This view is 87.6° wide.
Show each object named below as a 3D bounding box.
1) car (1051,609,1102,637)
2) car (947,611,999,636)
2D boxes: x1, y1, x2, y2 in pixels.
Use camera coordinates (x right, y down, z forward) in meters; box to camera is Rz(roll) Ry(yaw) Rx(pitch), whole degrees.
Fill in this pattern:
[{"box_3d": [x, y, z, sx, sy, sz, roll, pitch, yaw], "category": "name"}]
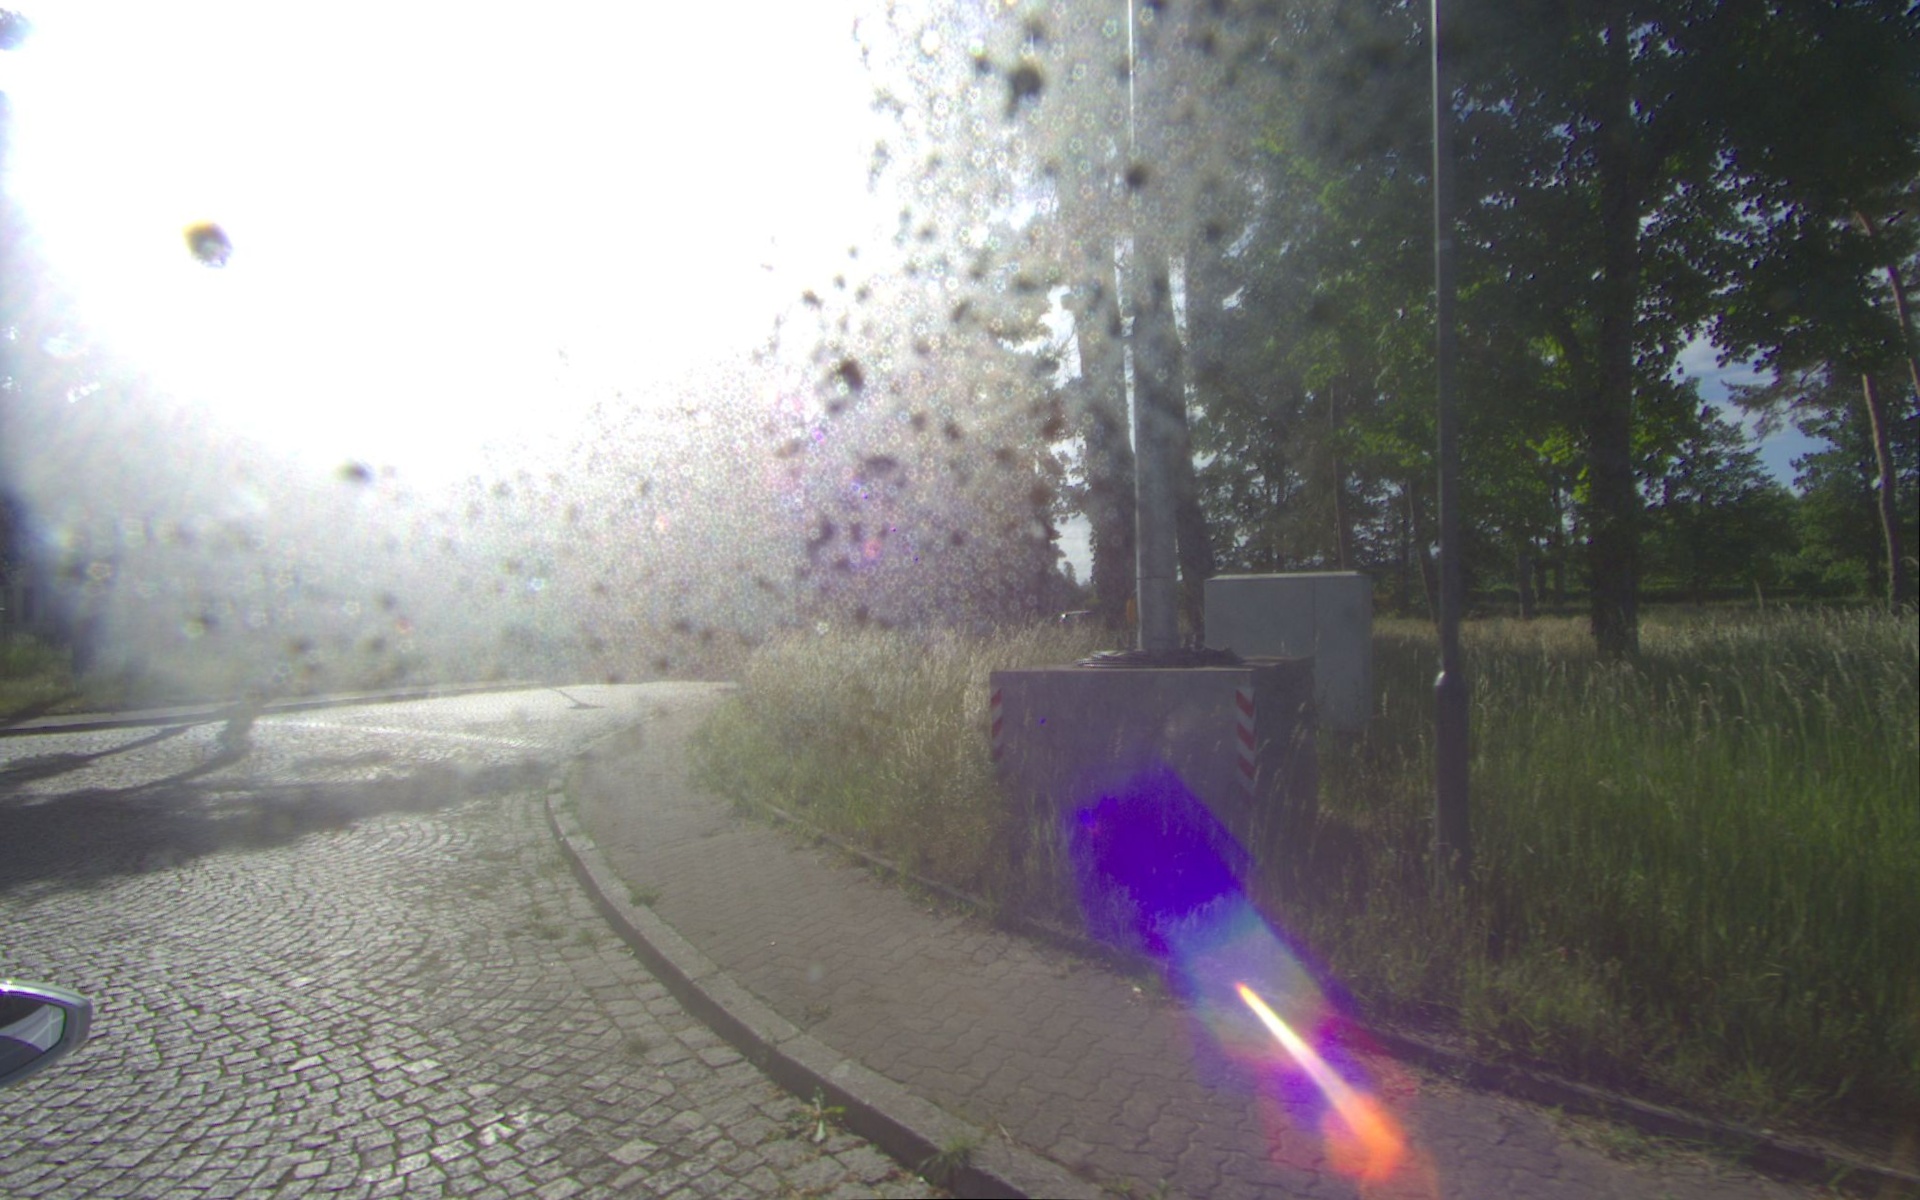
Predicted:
[{"box_3d": [6.955, 1.336, 59.378, 1.826, 1.619, 3.987, -1, -1, 25], "category": "car"}, {"box_3d": [0.859, 1.460, 63.574, 1.817, 1.483, 3.987, -1, -1, 25], "category": "car"}]
